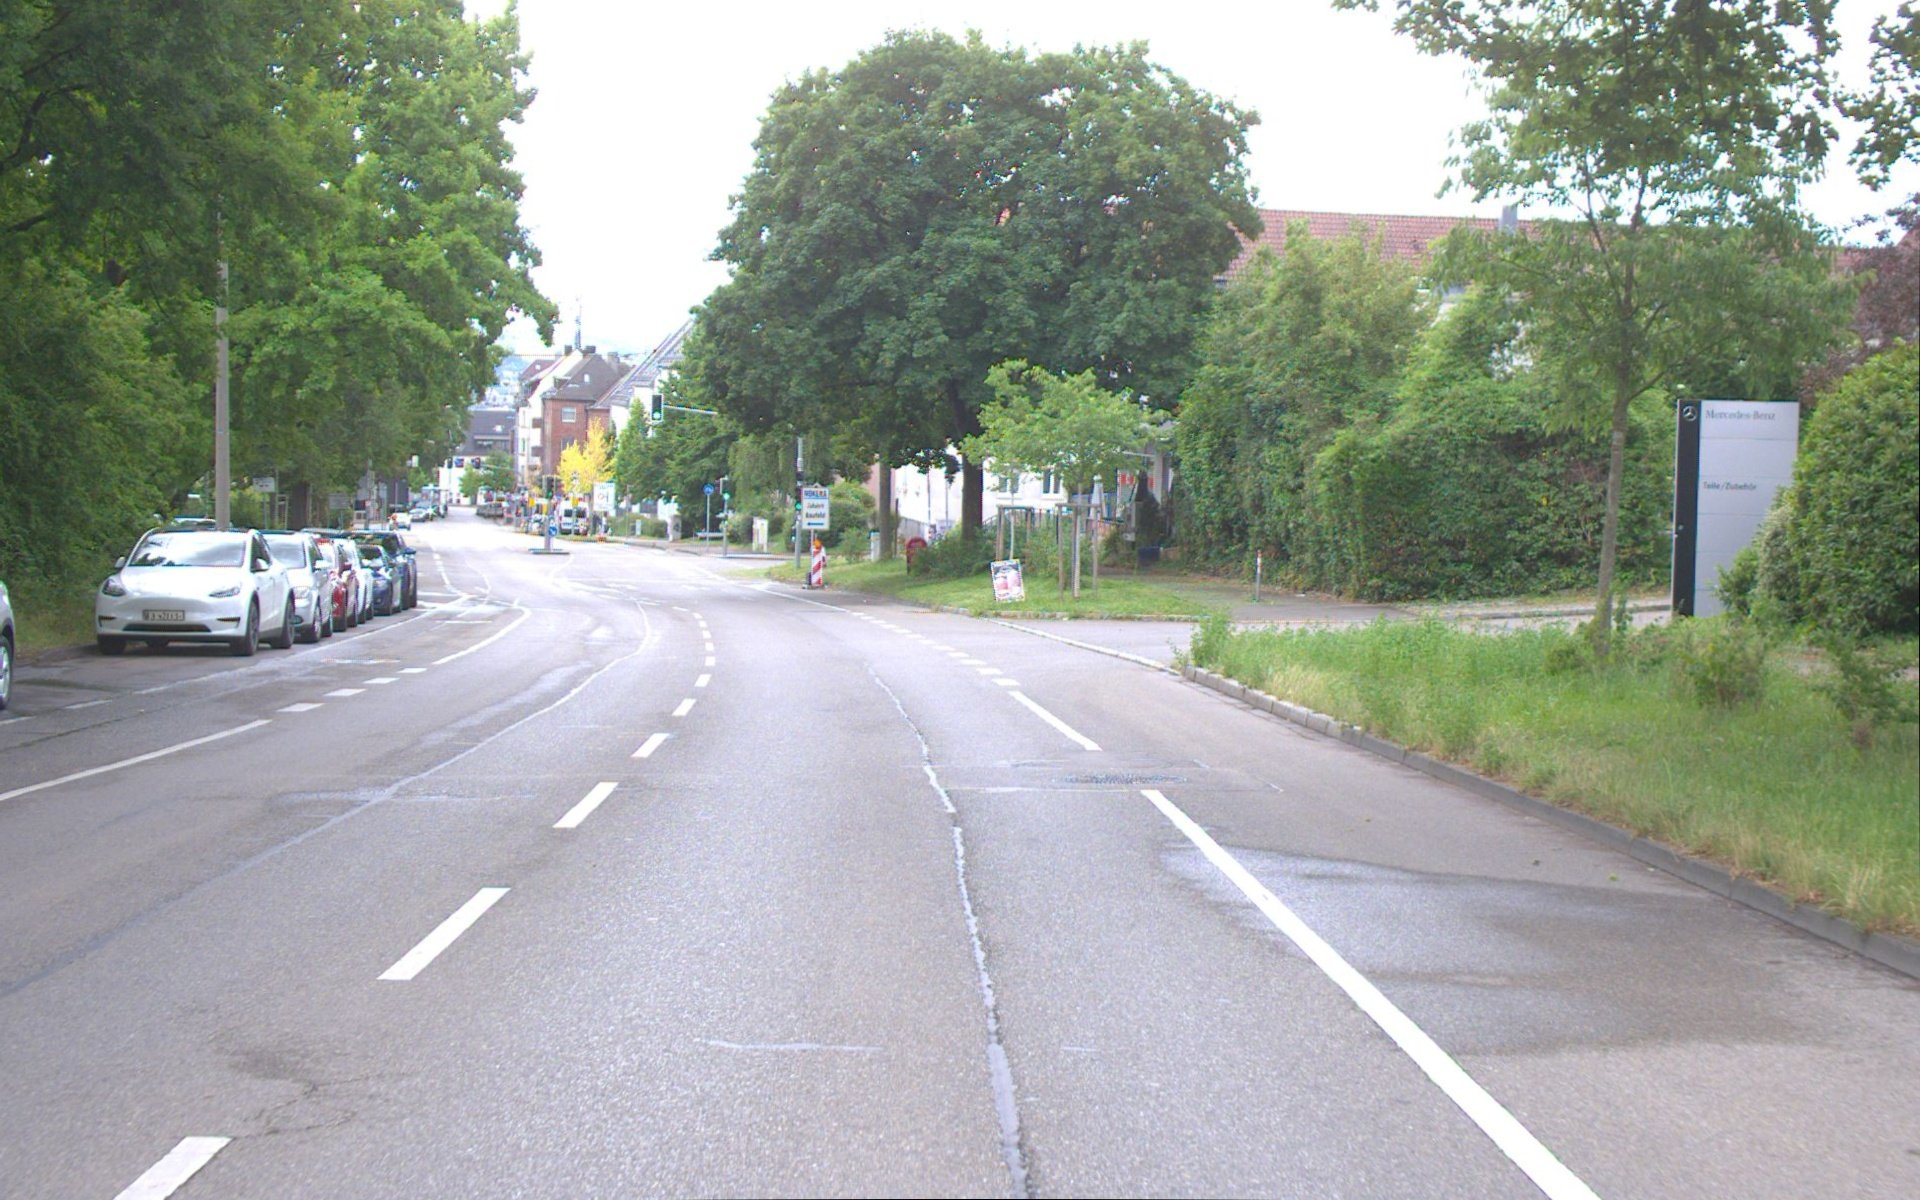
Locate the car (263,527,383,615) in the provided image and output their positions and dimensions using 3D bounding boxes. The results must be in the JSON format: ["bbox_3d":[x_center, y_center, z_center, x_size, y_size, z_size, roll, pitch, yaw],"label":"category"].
[{"bbox_3d":[-11.194,-0.533,60.657,1.715,1.454,4.758,1,1,-6],"label":"car"}]

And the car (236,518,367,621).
[{"bbox_3d":[-10.608,-0.506,55.609,1.715,1.567,4.372,1,1,-6],"label":"car"}]

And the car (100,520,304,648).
[{"bbox_3d":[-9.779,-0.227,44.664,1.767,1.567,4.760,0,1,-2],"label":"car"}]

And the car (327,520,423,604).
[{"bbox_3d":[-12.288,-0.828,72.374,1.715,1.607,4.536,1,2,-6],"label":"car"}]

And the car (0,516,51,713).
[{"bbox_3d":[-8.799,0.115,27.953,1.766,1.628,4.158,1,1,-1],"label":"car"}]

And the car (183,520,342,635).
[{"bbox_3d":[-10.094,-0.345,49.992,1.868,1.567,4.121,1,1,-6],"label":"car"}]

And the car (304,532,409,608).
[{"bbox_3d":[-11.642,-0.604,66.489,1.715,1.384,4.339,1,1,-6],"label":"car"}]
